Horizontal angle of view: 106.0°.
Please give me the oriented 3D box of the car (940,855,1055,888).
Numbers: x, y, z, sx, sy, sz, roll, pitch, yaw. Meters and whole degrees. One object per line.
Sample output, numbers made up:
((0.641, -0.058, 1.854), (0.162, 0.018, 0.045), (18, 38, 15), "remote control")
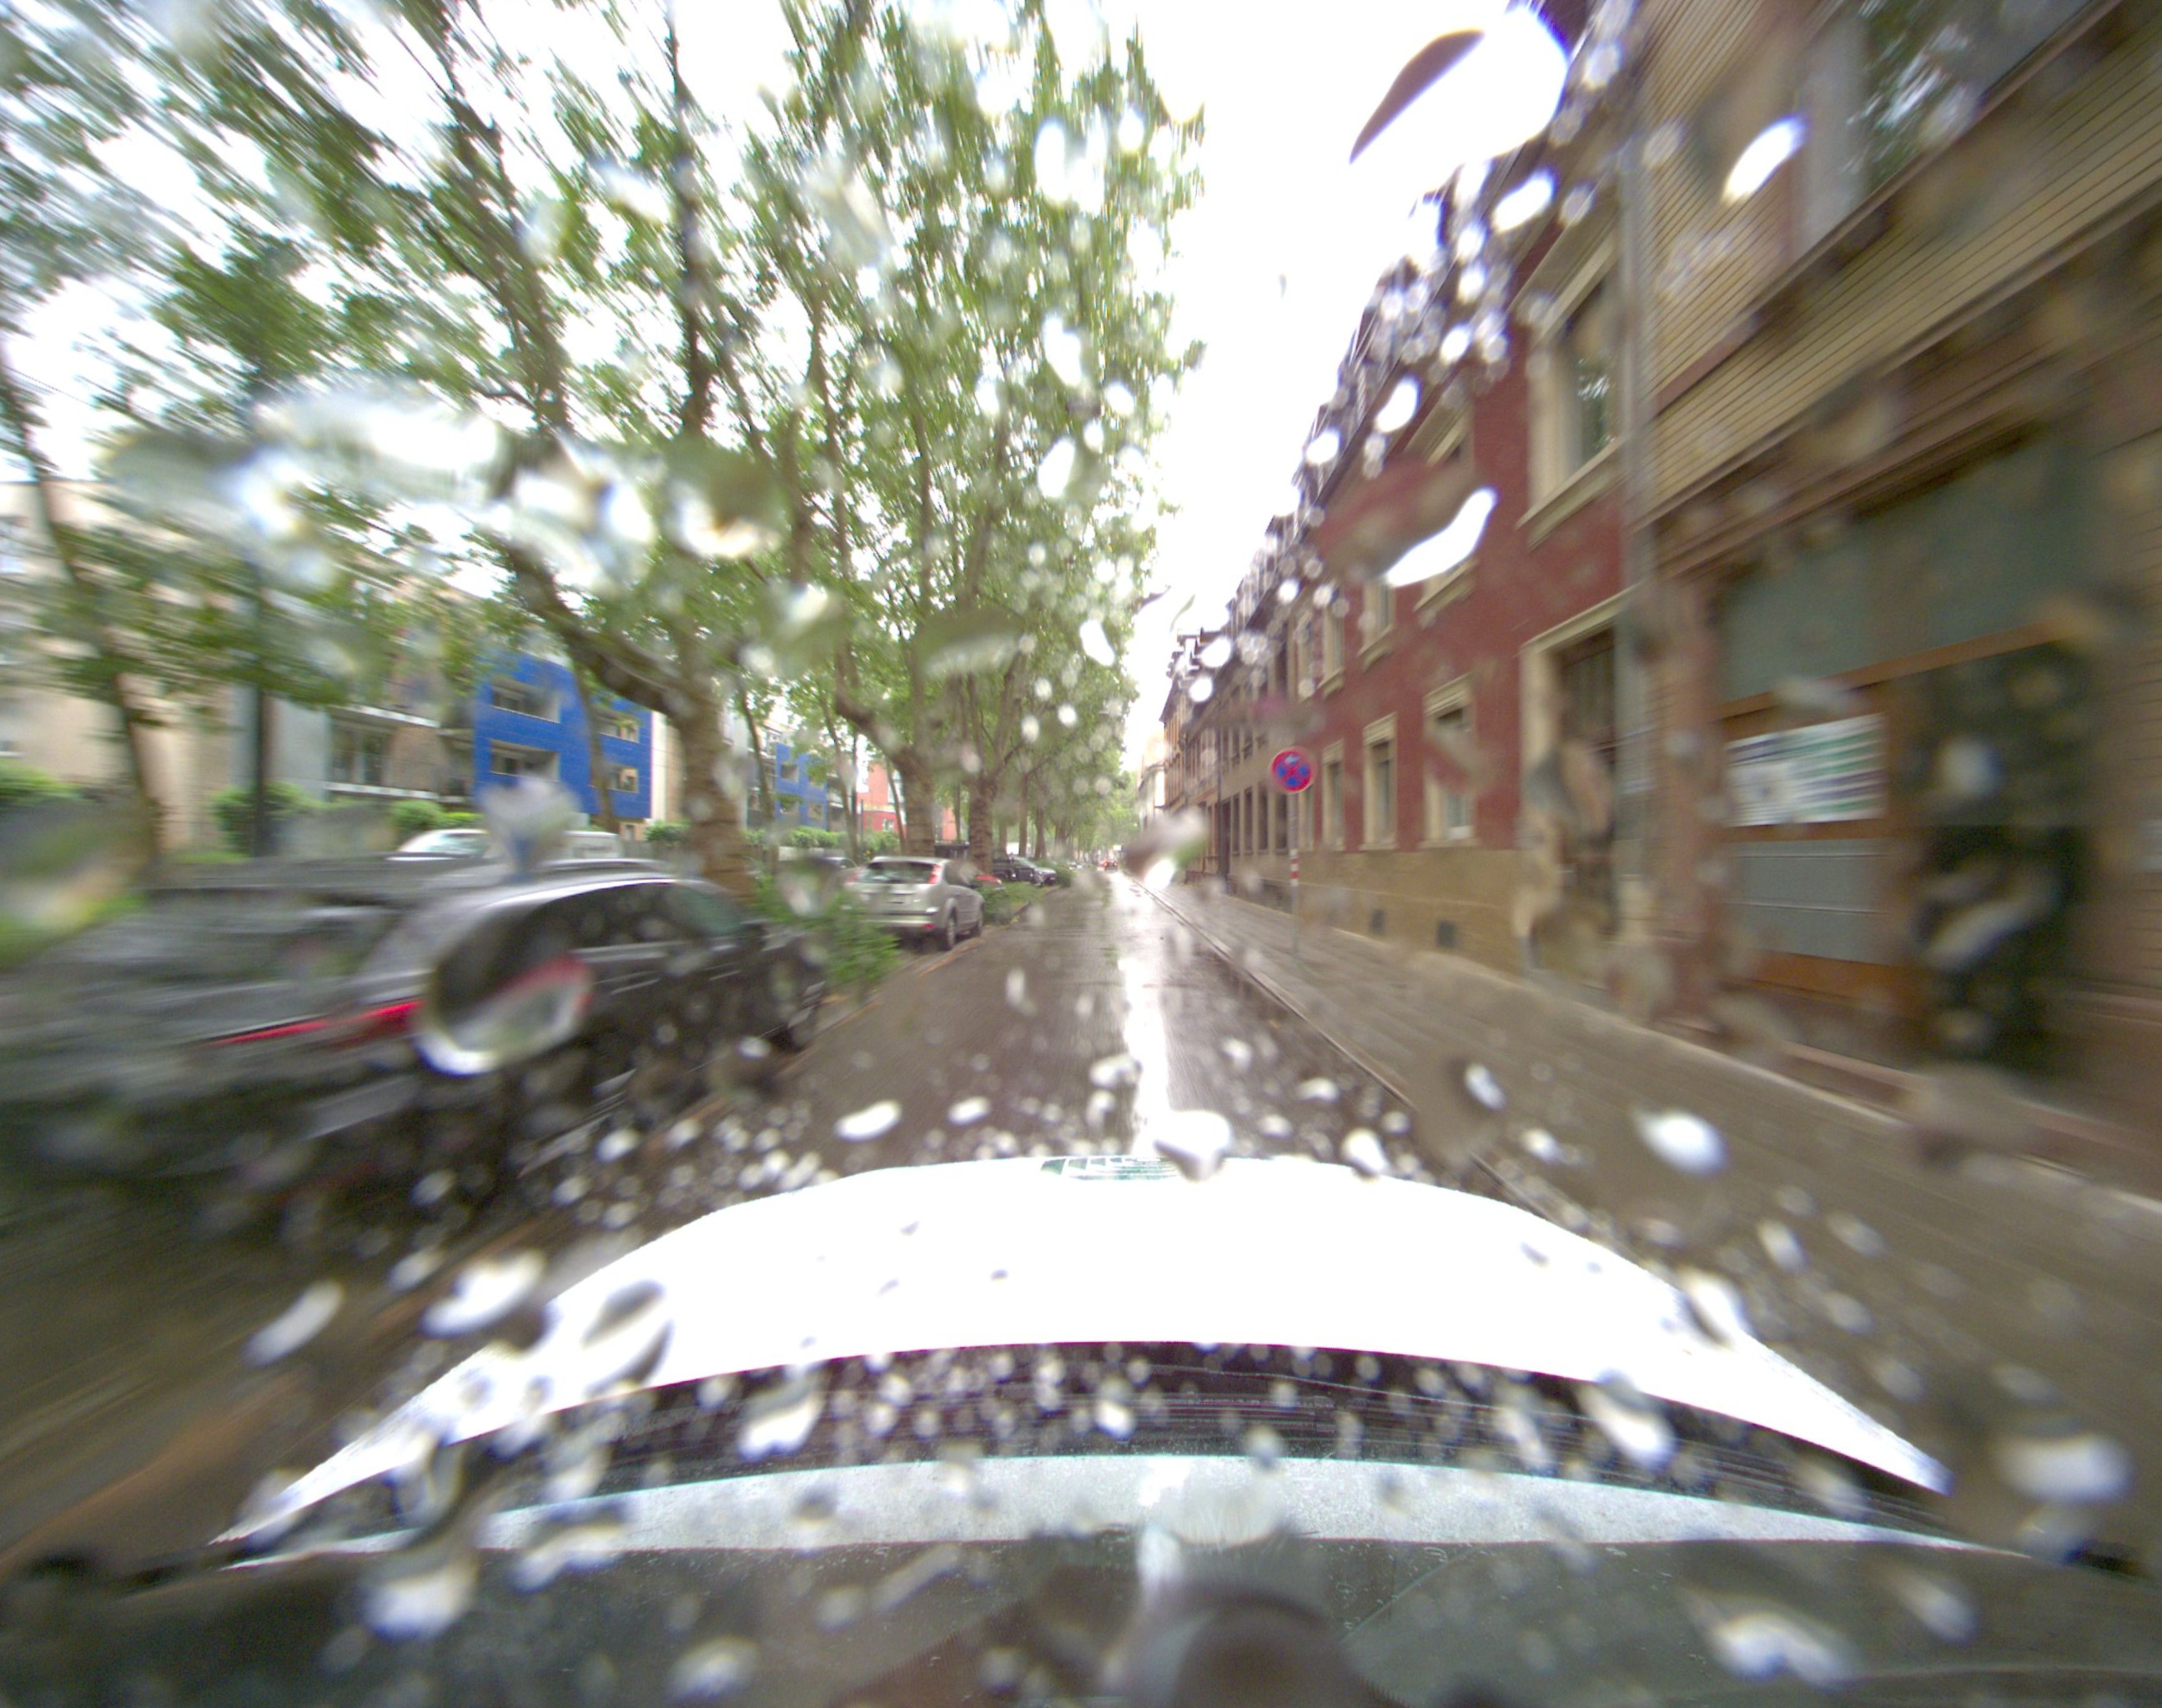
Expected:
((-3.569, 0.734, 34.633), (4.601, 1.326, 1.858), (0, -1, 29), "car")

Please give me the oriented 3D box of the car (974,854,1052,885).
((-3.350, 0.739, 40.286), (3.469, 1.468, 1.651), (0, -1, 23), "car")

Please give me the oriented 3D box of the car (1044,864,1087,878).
((-1.692, 1.813, 88.770), (4.502, 1.482, 1.786), (-1, -2, 32), "car")

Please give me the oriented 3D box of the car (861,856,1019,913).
((-3.910, 0.795, 22.500), (3.996, 1.435, 1.792), (0, -1, 26), "car")

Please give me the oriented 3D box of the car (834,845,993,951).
((-2.726, 0.679, 14.263), (1.723, 1.514, 4.209), (2, -1, 2), "car")

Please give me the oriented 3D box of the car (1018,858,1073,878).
((-3.453, 1.378, 79.465), (5.065, 1.977, 2.116), (-1, -2, 32), "car")

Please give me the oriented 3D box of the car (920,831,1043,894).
((-3.927, 0.333, 31.896), (4.600, 2.283, 2.024), (0, -1, 35), "car")

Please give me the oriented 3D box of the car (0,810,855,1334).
((-3.000, 0.647, 4.714), (1.889, 1.485, 4.623), (2, -1, 2), "car")

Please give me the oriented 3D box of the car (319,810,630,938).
((-11.465, 0.359, 16.104), (2.048, 1.997, 5.430), (3, -1, -2), "car")

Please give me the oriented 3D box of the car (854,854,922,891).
((-8.171, 0.797, 34.805), (1.827, 1.420, 4.000), (2, -1, 1), "car")

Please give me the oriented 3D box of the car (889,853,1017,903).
((-3.929, 0.708, 24.964), (3.459, 1.436, 1.792), (0, -1, 29), "car")

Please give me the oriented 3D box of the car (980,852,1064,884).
((-3.133, 0.715, 42.981), (4.013, 1.537, 1.846), (2, 0, 32), "car")

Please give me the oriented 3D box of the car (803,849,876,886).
((-10.905, 0.616, 37.115), (1.898, 1.534, 4.420), (2, -1, 0), "car")

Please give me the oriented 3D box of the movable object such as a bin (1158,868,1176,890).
((5.489, 1.572, 52.056), (1.017, 1.302, 1.367), (-2, 0, 1), "movable object such as a bin")

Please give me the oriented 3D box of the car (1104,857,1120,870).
((4.096, 1.250, 108.880), (1.986, 1.640, 4.001), (2, -1, 1), "car")

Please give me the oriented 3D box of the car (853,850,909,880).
((-10.841, 0.587, 44.434), (1.898, 1.534, 4.215), (2, -1, 0), "car")

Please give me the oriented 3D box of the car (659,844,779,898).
((-11.503, 0.528, 26.237), (1.898, 1.534, 4.215), (2, -1, 0), "car")
